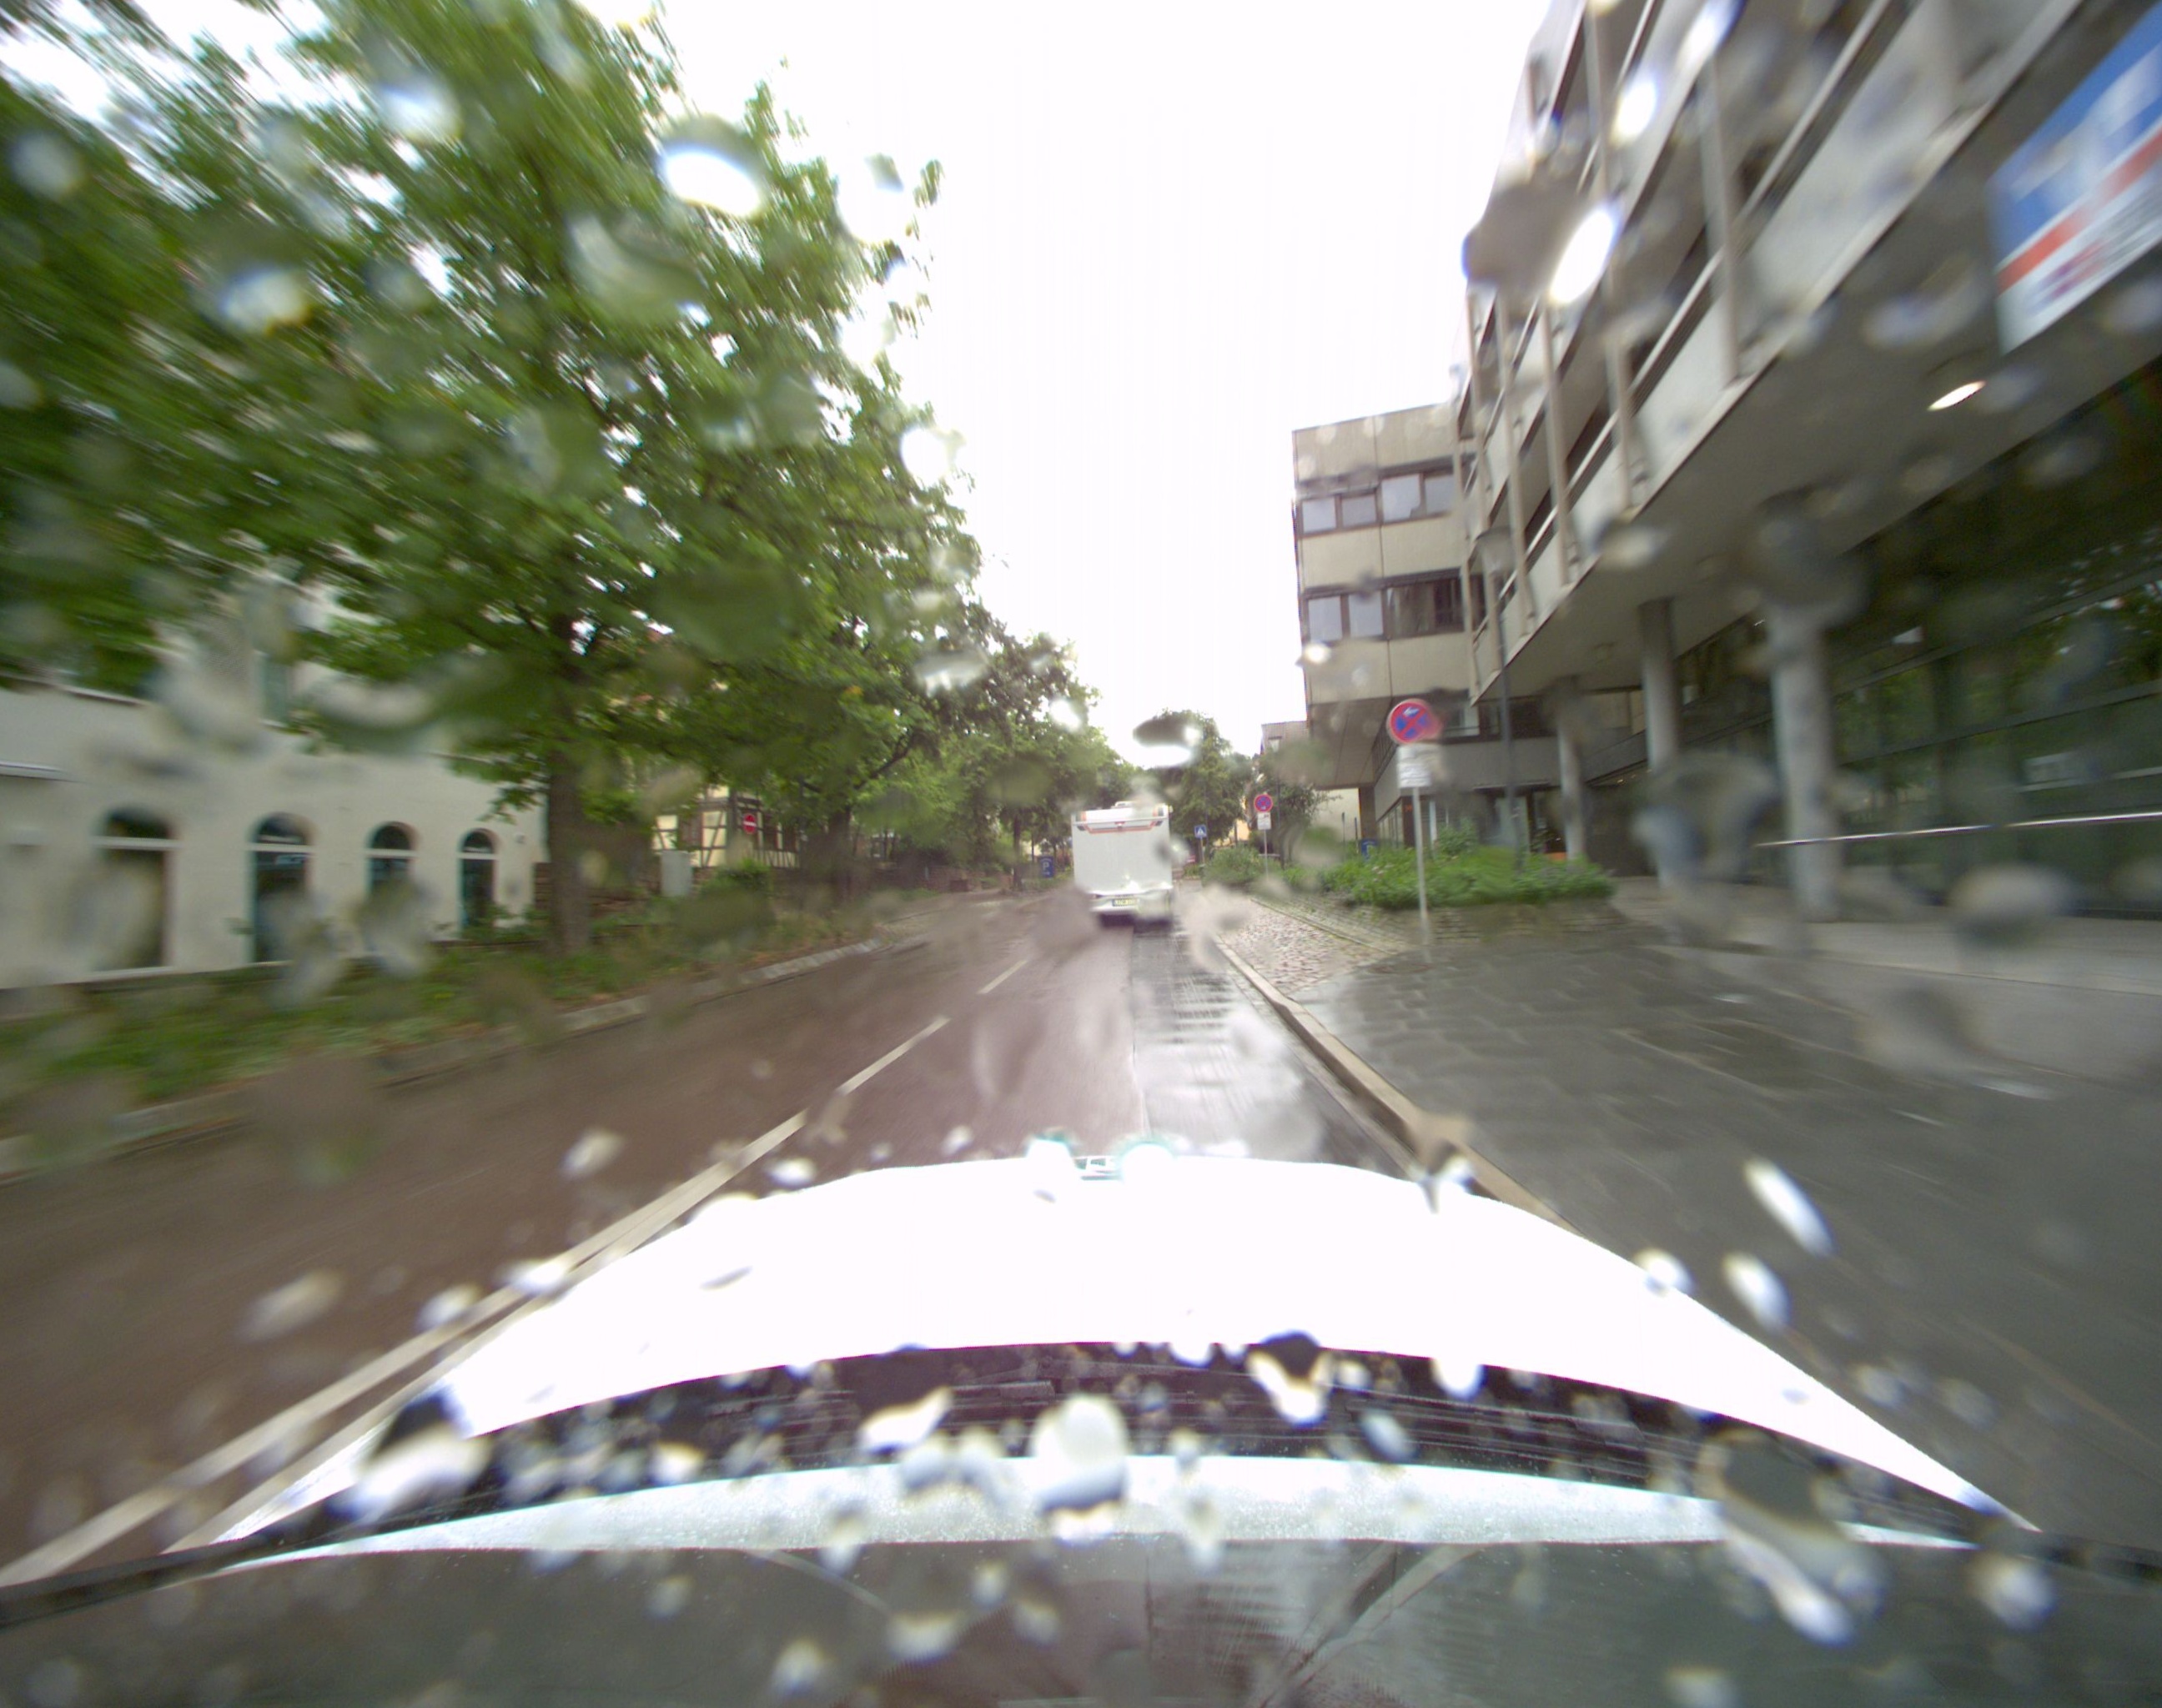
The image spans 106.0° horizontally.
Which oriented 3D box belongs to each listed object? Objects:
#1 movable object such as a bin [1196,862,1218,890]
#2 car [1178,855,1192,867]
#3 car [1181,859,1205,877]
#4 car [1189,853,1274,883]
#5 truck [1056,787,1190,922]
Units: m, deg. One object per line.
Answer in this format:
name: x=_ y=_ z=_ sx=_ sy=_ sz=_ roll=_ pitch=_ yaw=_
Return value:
movable object such as a bin: x=5.154 y=0.895 z=33.342 sx=0.697 sy=1.124 sz=0.574 roll=-5 pitch=-3 yaw=22
car: x=14.157 y=0.990 z=110.801 sx=1.640 sy=1.542 sz=3.537 roll=-4 pitch=-2 yaw=7
car: x=9.810 y=1.209 z=71.274 sx=1.844 sy=1.472 sz=4.377 roll=-2 pitch=-1 yaw=10
car: x=7.980 y=0.740 z=43.473 sx=4.262 sy=1.417 sz=1.843 roll=-2 pitch=-1 yaw=5
truck: x=1.272 y=0.119 z=20.993 sx=2.791 sy=2.797 sz=6.117 roll=-4 pitch=-2 yaw=6
